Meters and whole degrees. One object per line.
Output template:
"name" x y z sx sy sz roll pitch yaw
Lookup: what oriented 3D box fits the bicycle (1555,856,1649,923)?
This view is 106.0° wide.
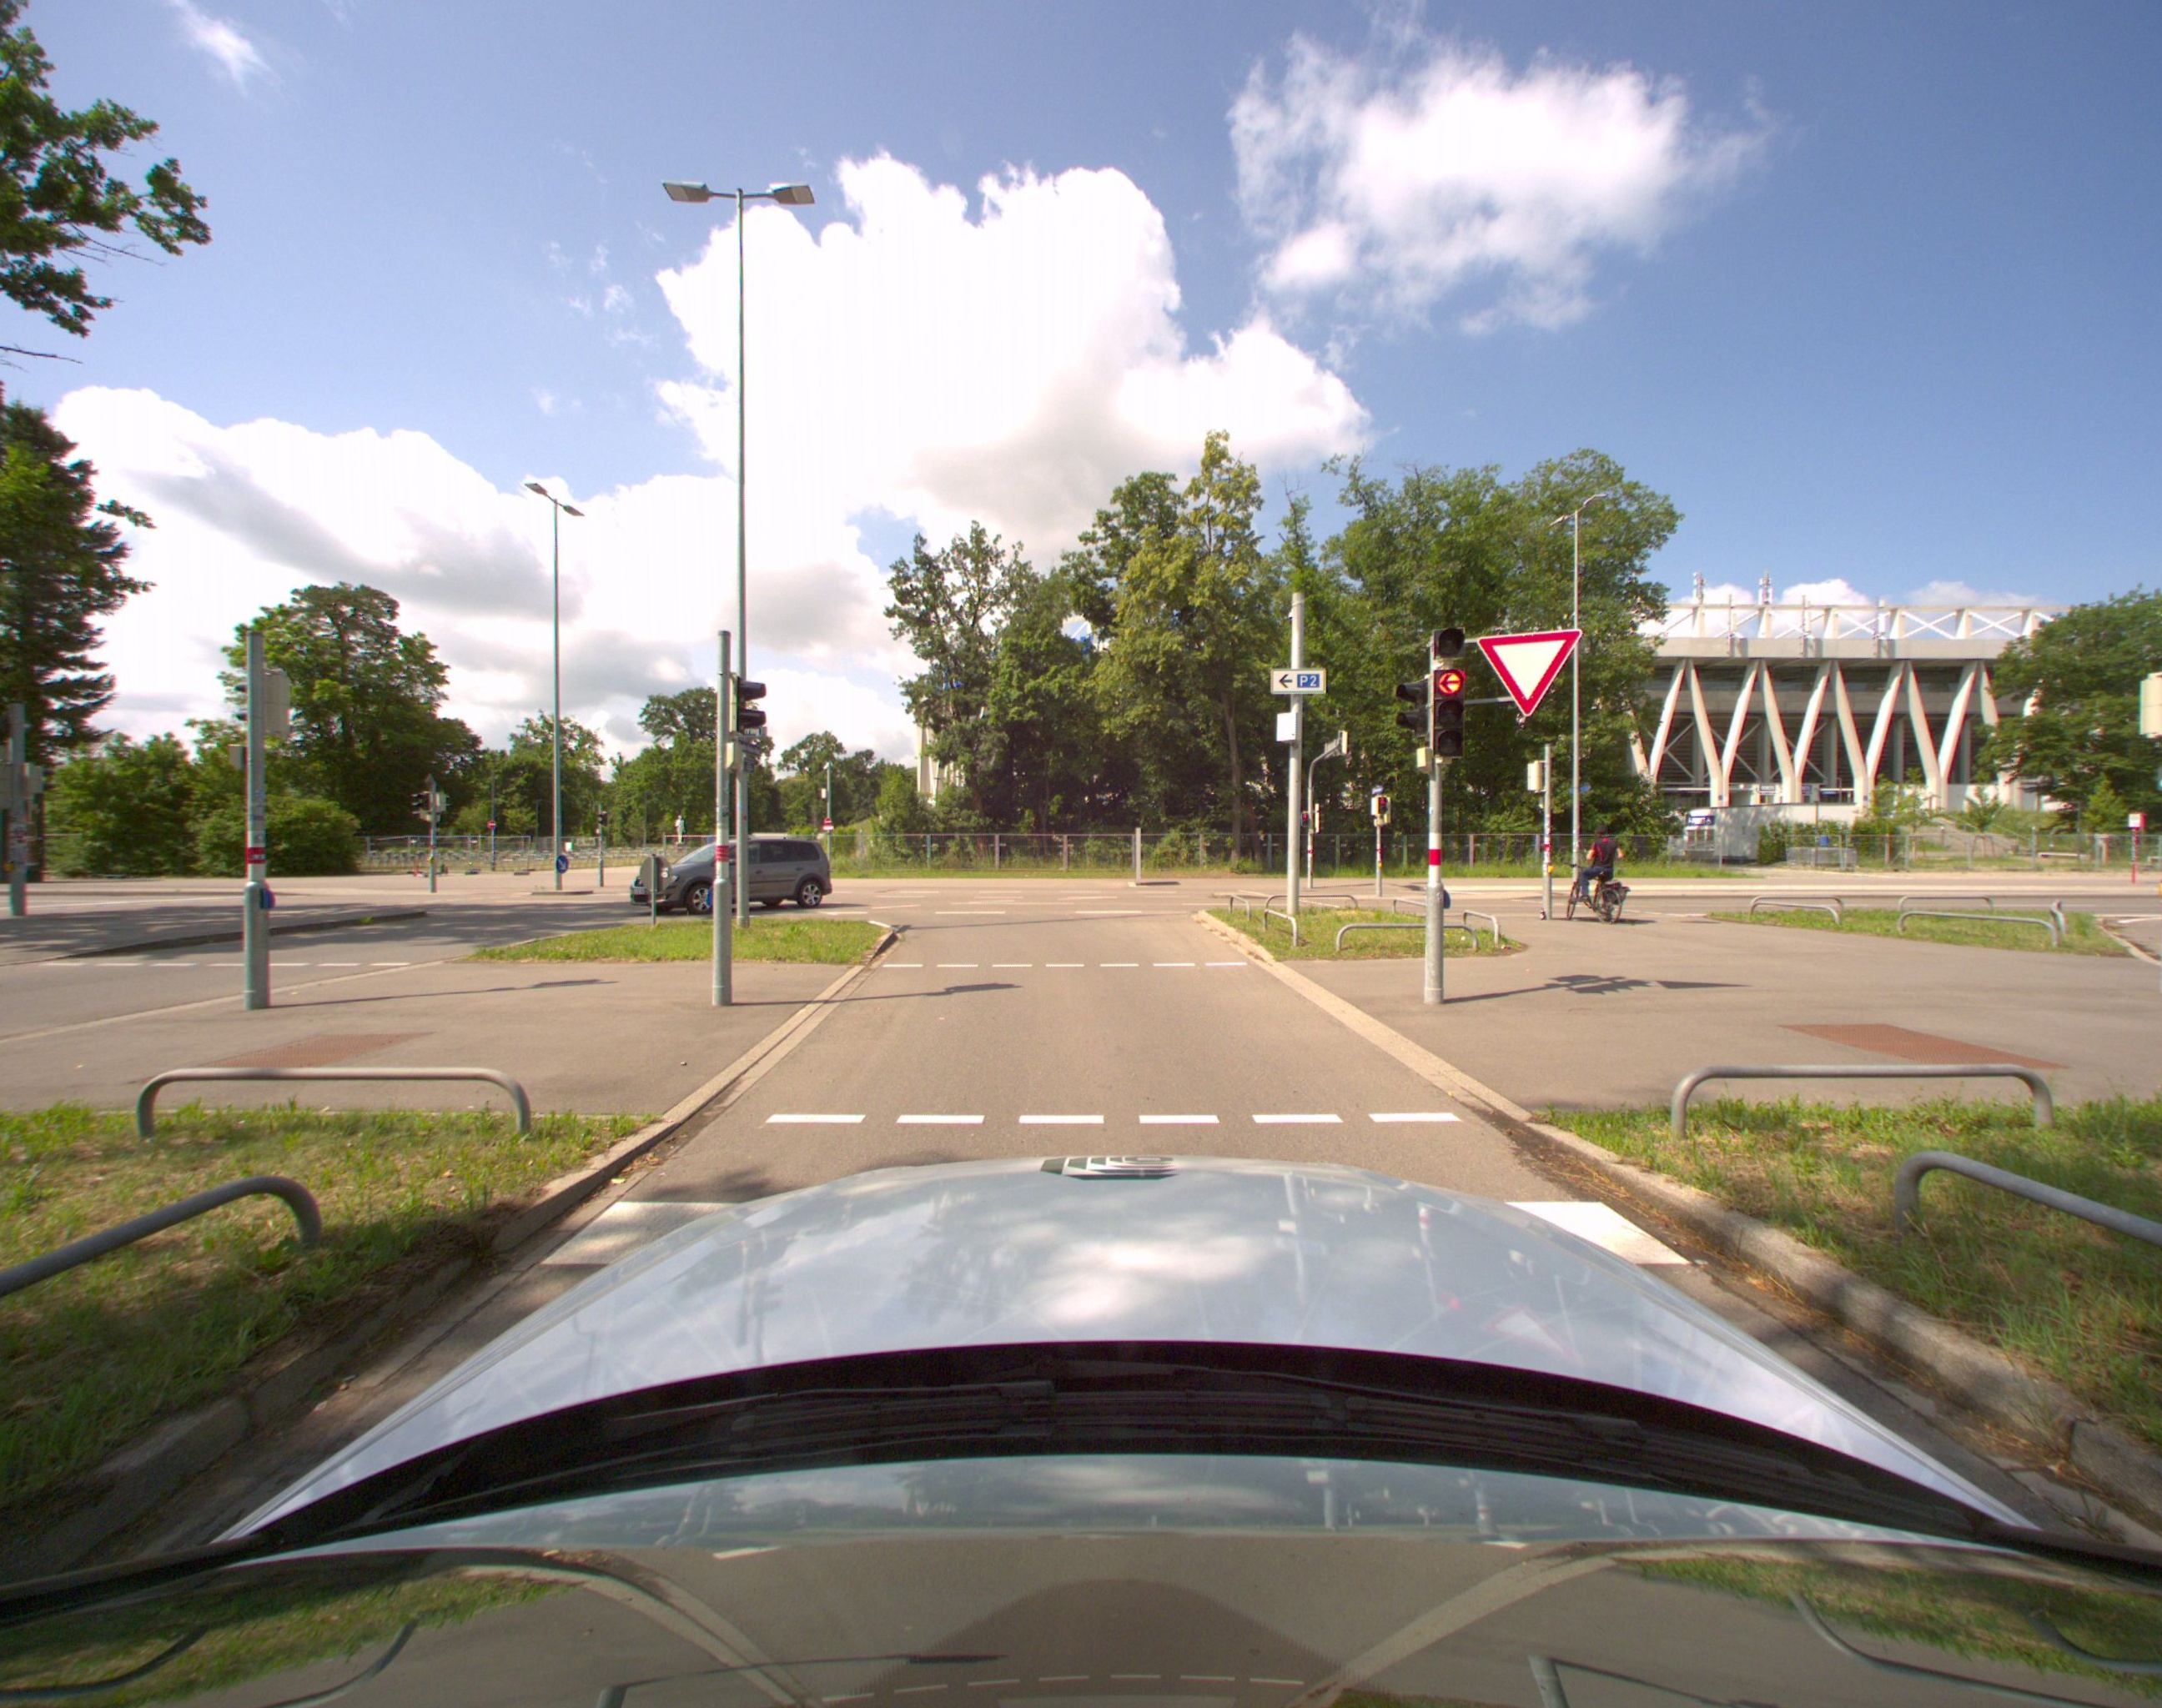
"bicycle" 9.960 0.641 15.670 0.875 1.206 1.903 -1 -1 11

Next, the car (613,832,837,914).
"car" -7.895 0.346 18.451 1.744 1.629 4.327 0 1 37

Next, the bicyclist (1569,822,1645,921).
"bicyclist" 9.915 0.324 15.402 0.879 1.798 0.981 -1 -1 10

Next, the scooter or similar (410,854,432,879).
"scooter or similar" -32.219 0.595 39.775 1.295 1.200 0.410 0 1 31
